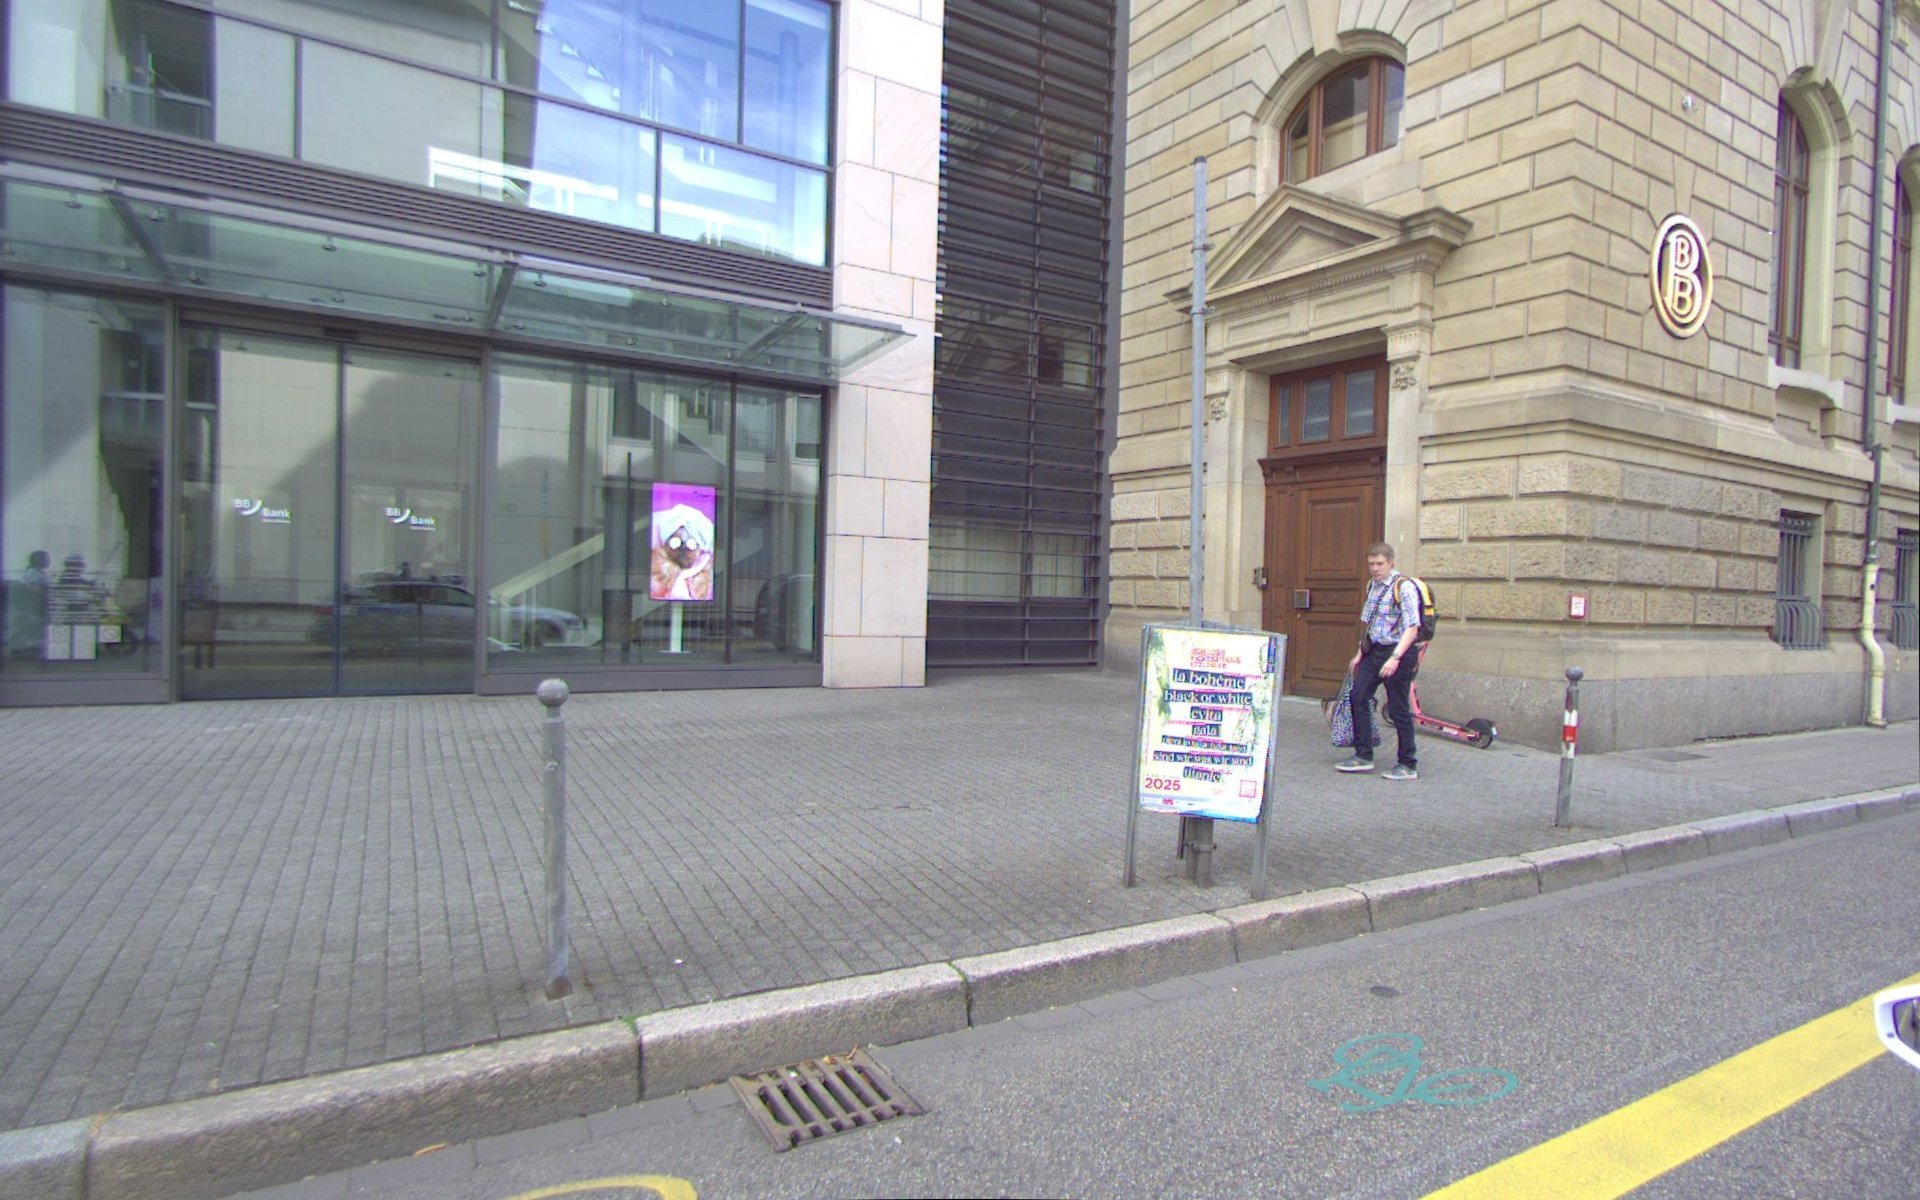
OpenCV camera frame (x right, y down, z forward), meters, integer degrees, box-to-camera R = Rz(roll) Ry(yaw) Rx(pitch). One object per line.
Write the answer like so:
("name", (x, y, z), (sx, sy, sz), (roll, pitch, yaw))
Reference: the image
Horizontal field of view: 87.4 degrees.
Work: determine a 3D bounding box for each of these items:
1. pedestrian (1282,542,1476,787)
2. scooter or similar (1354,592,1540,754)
("pedestrian", (3.226, 0.448, 7.796), (0.809, 1.743, 1.021), (2, 2, -30))
("scooter or similar", (4.562, 0.637, 9.509), (0.580, 1.328, 1.439), (0, 4, -30))
